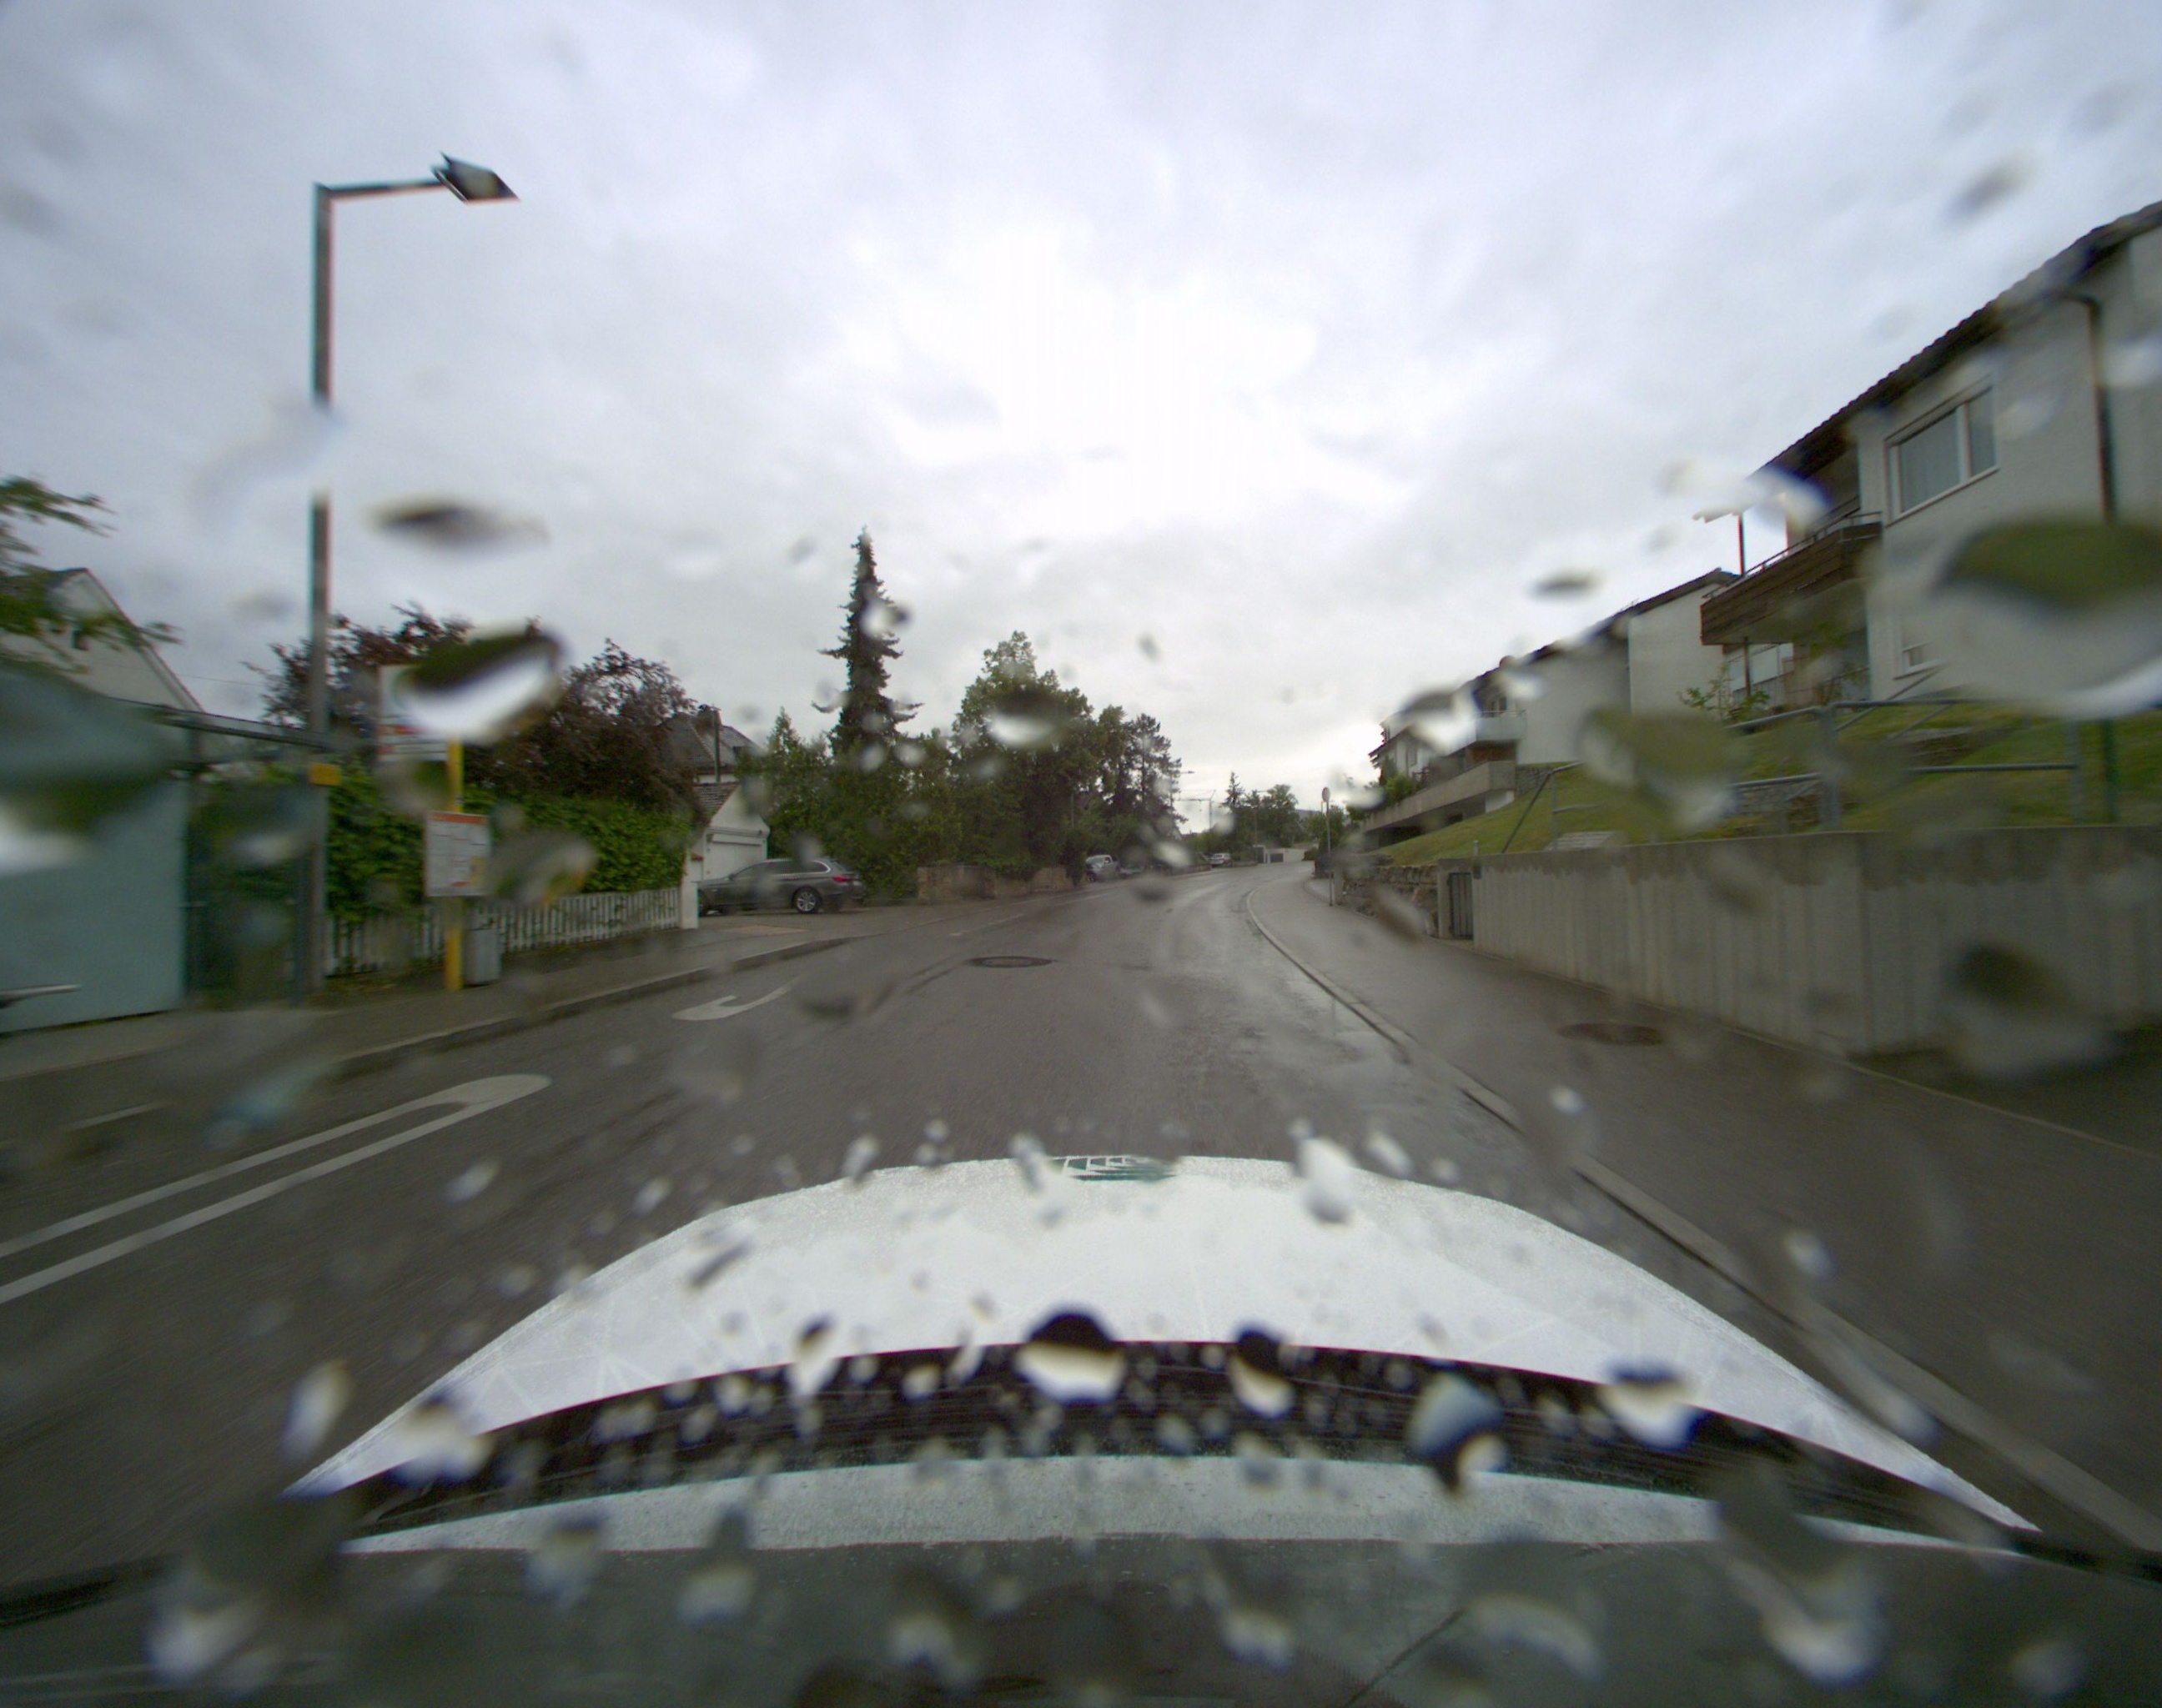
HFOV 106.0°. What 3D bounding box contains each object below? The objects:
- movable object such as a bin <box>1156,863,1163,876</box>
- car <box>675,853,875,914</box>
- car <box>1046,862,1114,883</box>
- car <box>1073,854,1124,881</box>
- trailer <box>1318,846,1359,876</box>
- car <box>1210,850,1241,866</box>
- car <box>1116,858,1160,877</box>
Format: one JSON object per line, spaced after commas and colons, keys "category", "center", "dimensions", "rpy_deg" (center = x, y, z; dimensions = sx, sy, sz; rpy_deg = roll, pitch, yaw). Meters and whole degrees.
{"category": "movable object such as a bin", "center": [5.761, 1.134, 59.710], "dimensions": [0.367, 0.988, 0.561], "rpy_deg": [-2, -1, 18]}
{"category": "car", "center": [-7.972, 0.755, 21.470], "dimensions": [4.523, 1.476, 1.840], "rpy_deg": [-1, 0, 1]}
{"category": "car", "center": [-0.070, 1.200, 52.591], "dimensions": [3.951, 1.271, 1.884], "rpy_deg": [-2, 0, 24]}
{"category": "car", "center": [1.384, 0.956, 61.254], "dimensions": [1.976, 1.844, 5.507], "rpy_deg": [-2, 0, 21]}
{"category": "trailer", "center": [15.968, 0.409, 50.513], "dimensions": [2.335, 1.748, 2.009], "rpy_deg": [-2, -1, 17]}
{"category": "car", "center": [15.572, 0.423, 87.675], "dimensions": [1.718, 1.551, 4.026], "rpy_deg": [-2, 0, 33]}
{"category": "car", "center": [4.293, 0.992, 60.911], "dimensions": [1.976, 1.307, 4.456], "rpy_deg": [-2, -1, 21]}
